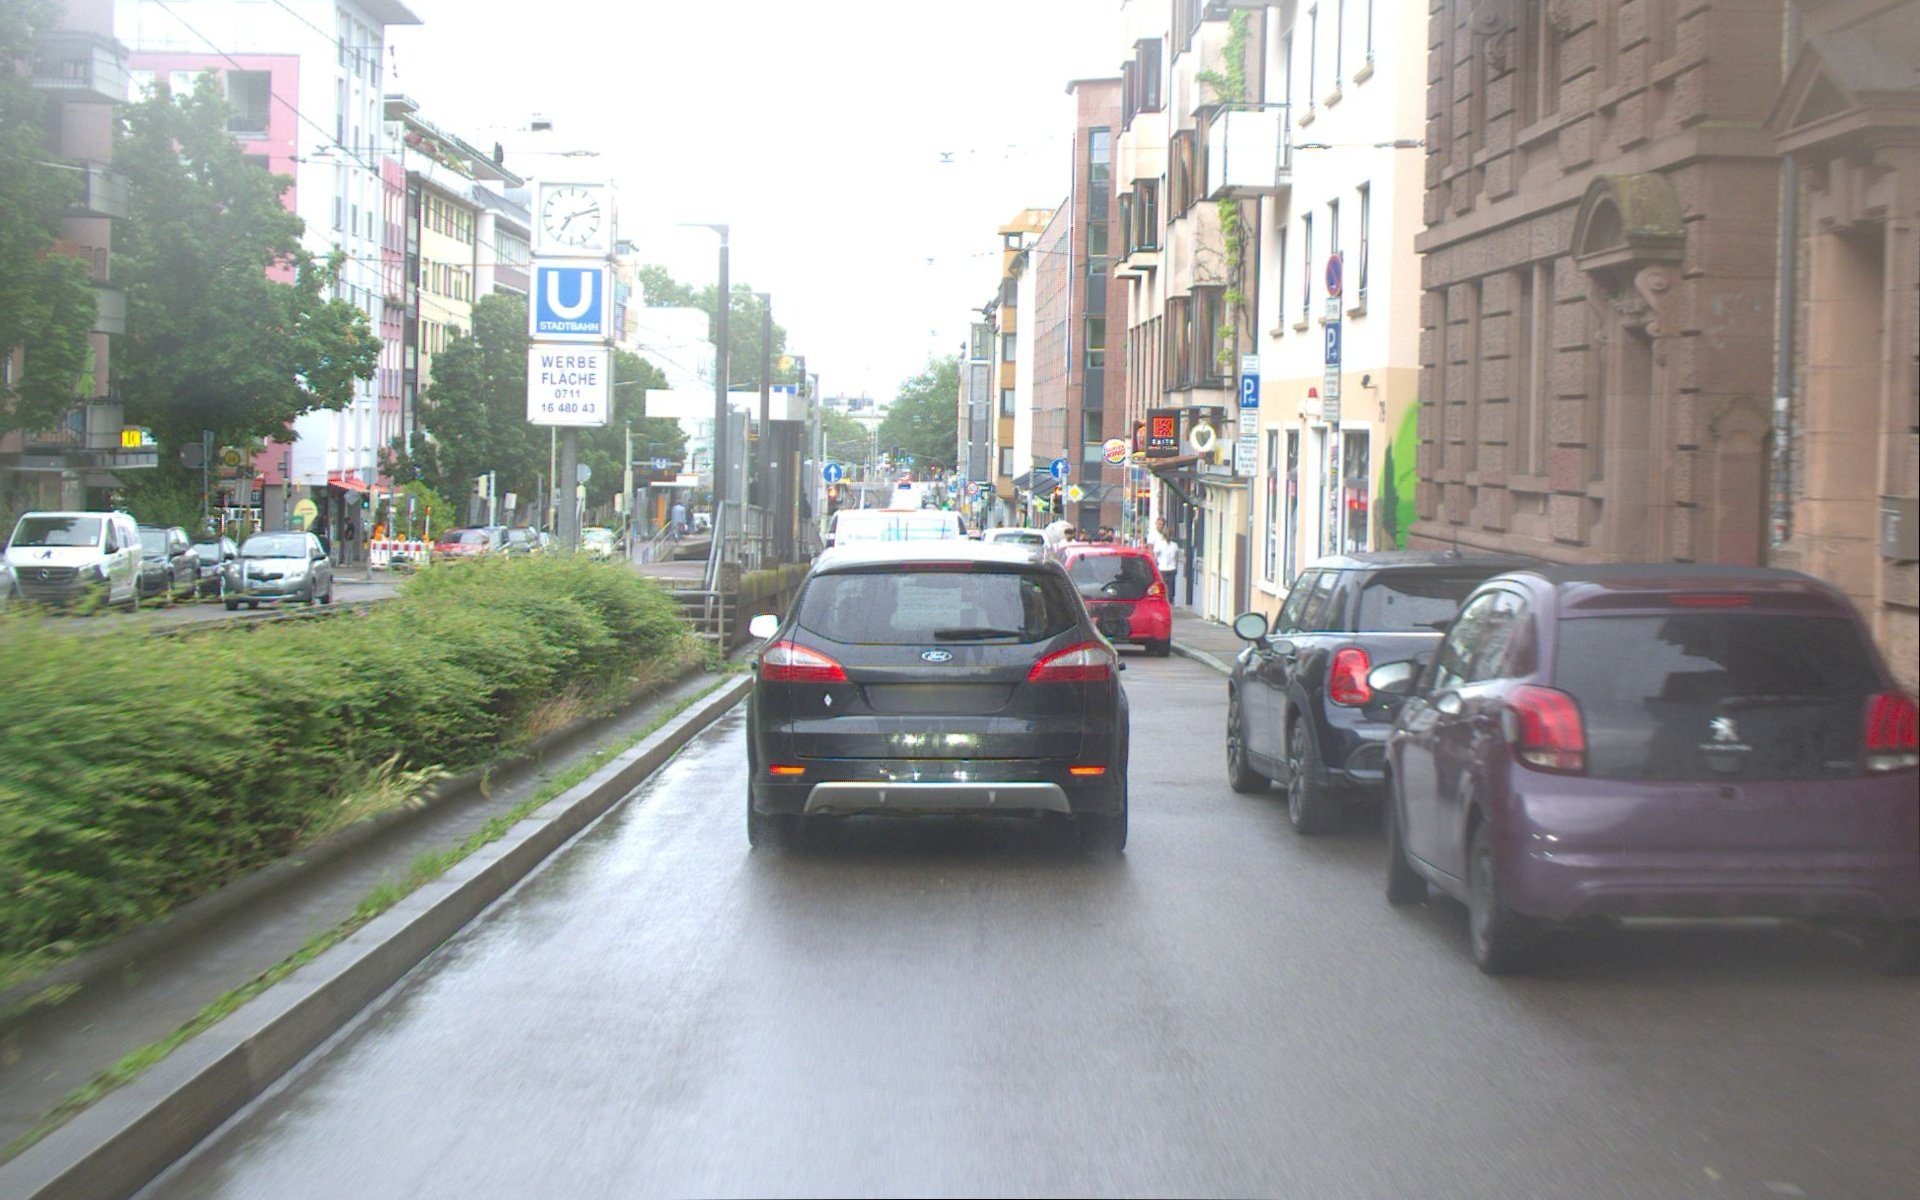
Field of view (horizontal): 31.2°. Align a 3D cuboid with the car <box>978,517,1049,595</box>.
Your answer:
[{"bbox_3d":[1.299,-1.068,84.960,1.591,1.775,3.779,3,0,0],"label":"car"}]

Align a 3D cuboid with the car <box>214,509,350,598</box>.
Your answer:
[{"bbox_3d":[-13.265,-0.883,67.494,1.855,1.631,4.046,2,0,-1],"label":"car"}]

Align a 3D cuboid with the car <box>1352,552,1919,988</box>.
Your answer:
[{"bbox_3d":[2.567,0.551,13.353,1.649,1.454,3.476,1,1,0],"label":"car"}]

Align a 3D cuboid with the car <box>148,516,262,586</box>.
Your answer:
[{"bbox_3d":[-16.070,-1.023,73.330,1.550,1.390,4.046,2,0,-1],"label":"car"}]

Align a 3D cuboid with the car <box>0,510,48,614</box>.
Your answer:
[{"bbox_3d":[-15.134,-0.589,51.869,1.668,1.553,4.046,2,0,-1],"label":"car"}]

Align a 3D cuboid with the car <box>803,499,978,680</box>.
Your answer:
[{"bbox_3d":[-0.788,-0.190,41.953,1.988,2.053,4.645,1,2,0],"label":"car"}]

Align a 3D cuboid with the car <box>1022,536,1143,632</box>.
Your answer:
[{"bbox_3d":[1.869,-0.266,53.152,1.670,1.416,3.476,1,1,-1],"label":"car"}]

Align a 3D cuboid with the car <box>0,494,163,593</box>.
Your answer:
[{"bbox_3d":[-15.711,-0.981,61.256,1.855,1.631,4.935,2,0,-1],"label":"car"}]

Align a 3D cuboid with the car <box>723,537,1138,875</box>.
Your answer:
[{"bbox_3d":[-0.228,0.446,17.328,1.842,1.502,4.001,0,1,-3],"label":"car"}]

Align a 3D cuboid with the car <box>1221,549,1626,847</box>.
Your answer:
[{"bbox_3d":[2.438,0.457,18.897,1.577,1.454,3.822,1,1,-2],"label":"car"}]

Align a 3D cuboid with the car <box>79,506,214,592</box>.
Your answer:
[{"bbox_3d":[-15.976,-0.978,67.671,1.695,1.568,4.046,2,0,-1],"label":"car"}]

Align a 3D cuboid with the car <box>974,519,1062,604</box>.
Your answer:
[{"bbox_3d":[1.311,-0.862,79.158,1.839,1.775,3.779,3,0,0],"label":"car"}]

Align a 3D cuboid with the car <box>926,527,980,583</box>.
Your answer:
[{"bbox_3d":[-0.272,-1.766,134.920,1.993,2.007,4.000,3,0,0],"label":"car"}]

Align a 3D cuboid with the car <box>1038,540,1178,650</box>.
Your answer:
[{"bbox_3d":[1.970,-0.095,46.625,1.670,1.416,3.476,1,1,-1],"label":"car"}]
